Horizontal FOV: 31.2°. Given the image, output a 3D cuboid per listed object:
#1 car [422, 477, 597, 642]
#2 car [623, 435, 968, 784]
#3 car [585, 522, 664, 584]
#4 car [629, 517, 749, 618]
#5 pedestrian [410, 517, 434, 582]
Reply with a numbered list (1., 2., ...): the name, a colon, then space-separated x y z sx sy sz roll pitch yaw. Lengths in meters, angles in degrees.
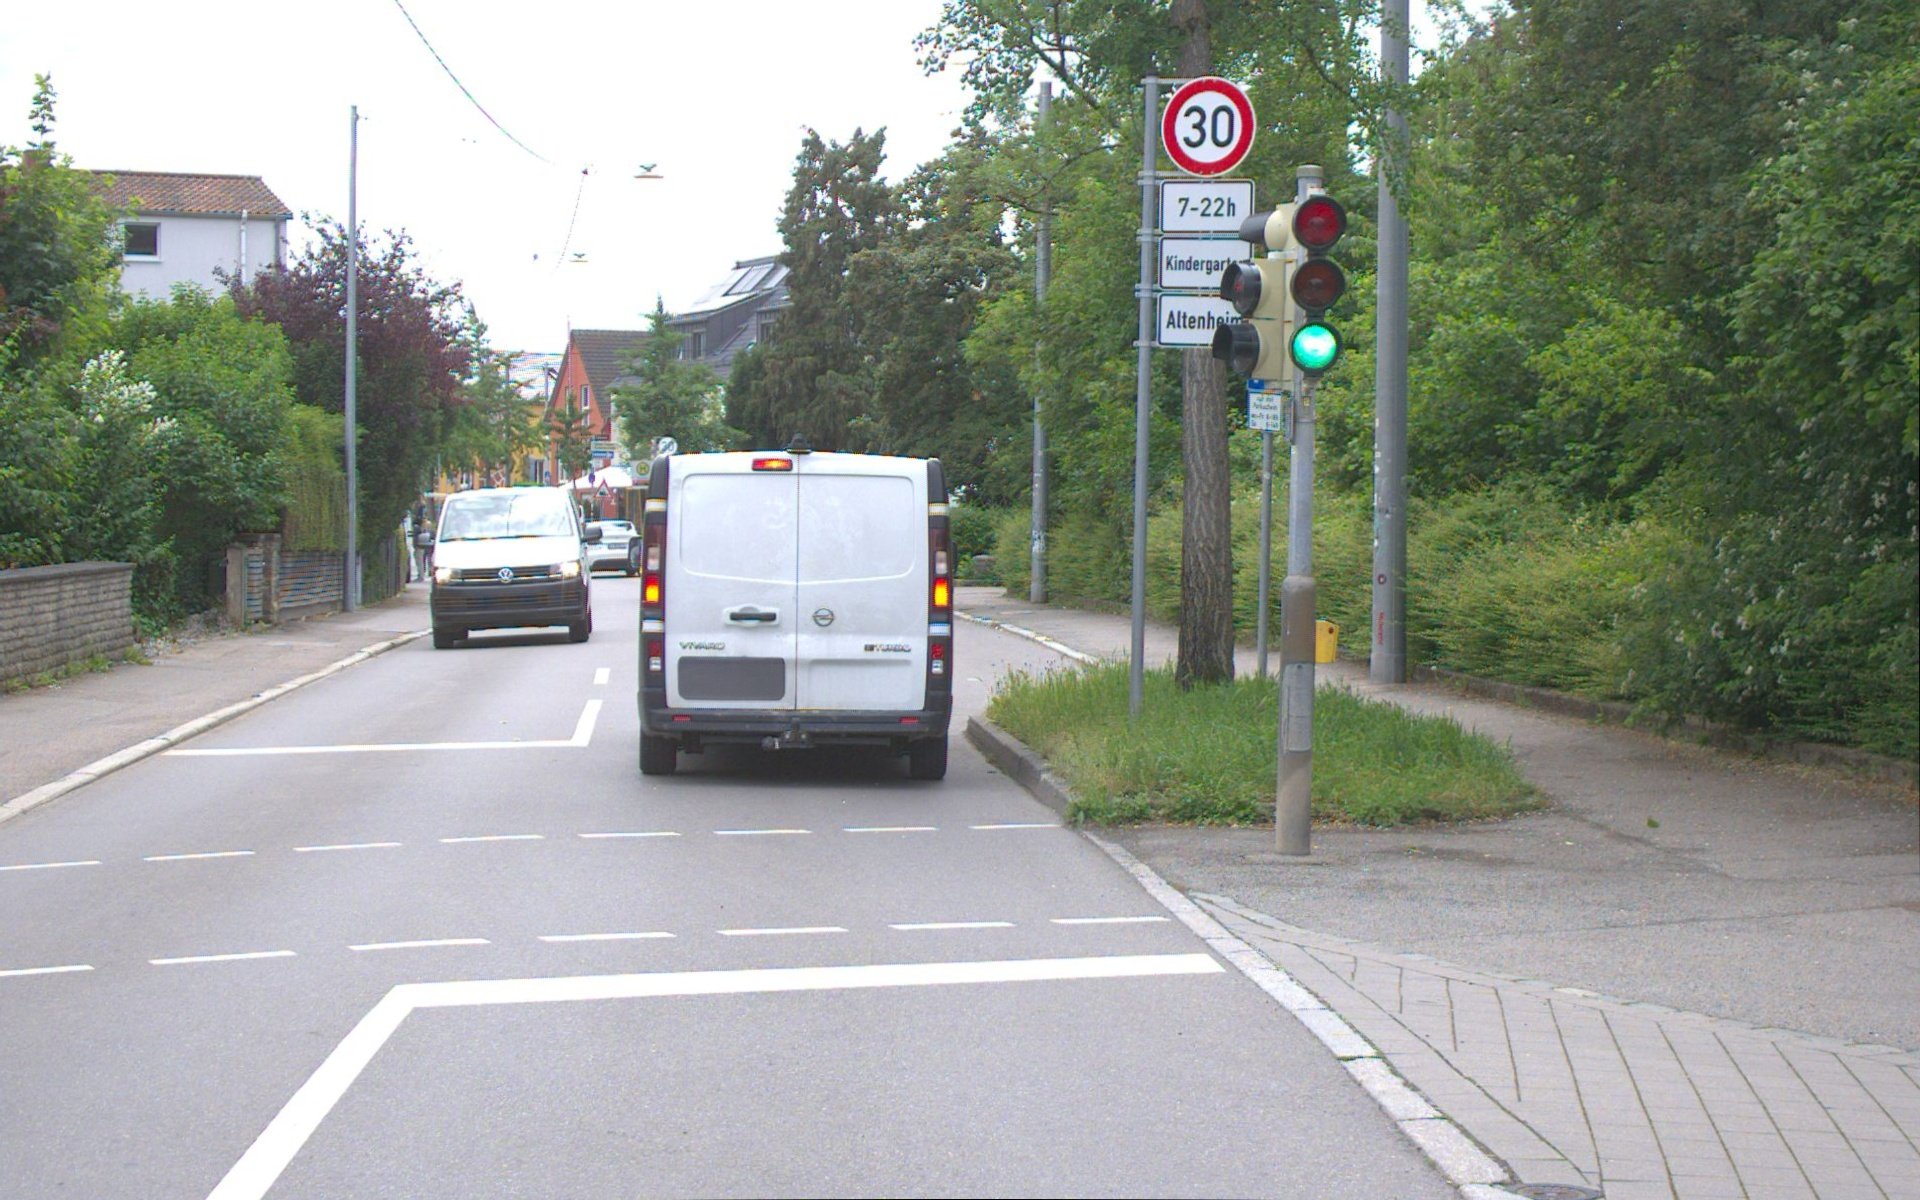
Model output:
1. car: -5.621 -0.556 43.454 1.867 1.904 5.116 -2 2 -4
2. car: -1.118 0.026 21.847 1.929 1.957 4.402 1 1 -5
3. car: -9.772 -1.384 99.966 1.824 1.722 4.001 1 1 -12
4. car: -5.191 -0.634 66.348 1.897 1.853 4.404 1 1 0
5. pedestrian: -14.225 -1.341 90.907 0.418 1.709 0.453 2 1 39
